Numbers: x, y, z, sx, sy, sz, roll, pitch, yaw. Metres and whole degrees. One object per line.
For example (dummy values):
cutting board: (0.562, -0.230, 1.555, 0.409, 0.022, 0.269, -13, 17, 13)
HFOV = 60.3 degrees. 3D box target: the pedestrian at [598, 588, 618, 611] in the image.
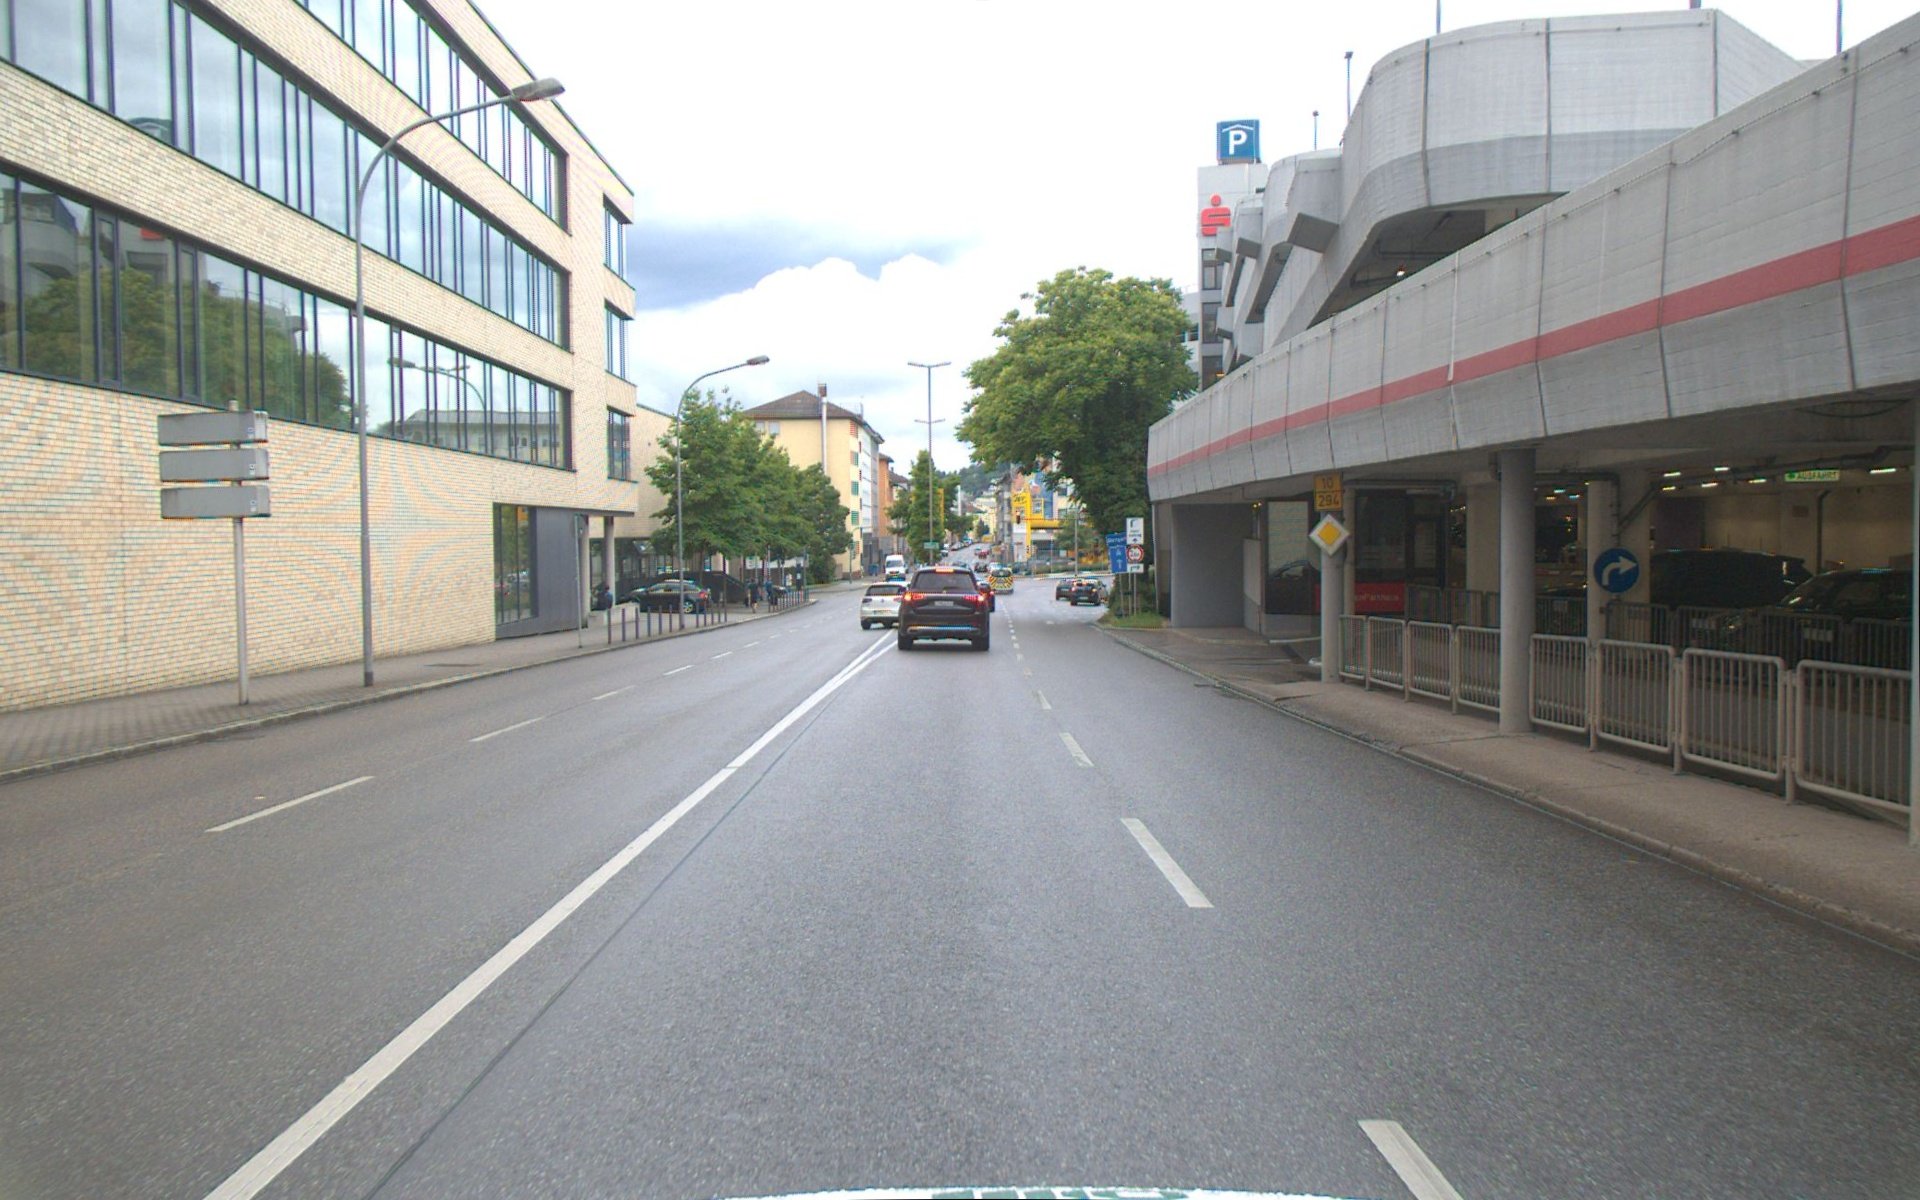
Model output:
pedestrian: (-13.169, -0.019, 61.915, 0.574, 0.859, 0.727, 0, 0, 1)

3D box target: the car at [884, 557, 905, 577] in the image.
car: (-6.708, -3.407, 170.081, 1.953, 1.908, 5.141, 1, 0, -1)

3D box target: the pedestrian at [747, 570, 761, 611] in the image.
pedestrian: (-10.491, -0.486, 84.383, 0.576, 2.049, 0.749, 1, 0, -1)

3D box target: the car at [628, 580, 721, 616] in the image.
car: (-14.159, -0.106, 82.158, 4.329, 1.601, 1.999, 1, 2, -5)

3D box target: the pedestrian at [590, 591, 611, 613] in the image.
pedestrian: (-13.255, 0.067, 60.976, 0.585, 0.800, 0.760, 1, 0, 1)

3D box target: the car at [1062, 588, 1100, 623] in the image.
car: (7.434, 0.323, 101.855, 1.953, 2.049, 3.999, 1, 1, -1)

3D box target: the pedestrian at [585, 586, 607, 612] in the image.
pedestrian: (-13.340, -0.035, 60.558, 0.667, 0.901, 0.524, 1, 0, 1)

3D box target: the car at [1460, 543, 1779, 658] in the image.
car: (10.452, 0.002, 26.527, 4.478, 1.668, 1.823, 1, 0, 12)

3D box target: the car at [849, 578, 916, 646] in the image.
car: (-2.452, 0.384, 53.437, 1.953, 2.049, 3.999, 1, 0, -1)

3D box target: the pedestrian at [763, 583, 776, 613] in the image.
pedestrian: (-11.367, -0.111, 98.772, 0.674, 1.756, 0.754, 1, -2, 0)

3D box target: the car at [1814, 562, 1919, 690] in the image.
car: (13.193, 0.271, 21.121, 3.643, 1.531, 1.809, -2, 1, 8)

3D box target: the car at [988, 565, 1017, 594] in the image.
car: (3.147, -1.514, 122.942, 1.953, 2.049, 3.999, 1, 0, -1)

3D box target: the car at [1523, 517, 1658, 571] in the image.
car: (21.176, -1.864, 55.718, 3.902, 1.668, 2.002, 1, 0, 10)

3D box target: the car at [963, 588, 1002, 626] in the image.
car: (1.056, 0.334, 79.091, 1.669, 1.746, 3.442, 1, 0, -2)

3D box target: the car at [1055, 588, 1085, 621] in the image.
car: (7.552, 0.308, 113.698, 1.952, 2.165, 4.001, 1, 0, 3)

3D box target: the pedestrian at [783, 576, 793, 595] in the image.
pedestrian: (-13.818, -1.173, 132.654, 0.696, 1.487, 0.598, 1, 0, -1)

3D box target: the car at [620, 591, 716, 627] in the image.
car: (-14.078, 0.416, 79.871, 4.381, 1.614, 1.998, -1, 1, -6)

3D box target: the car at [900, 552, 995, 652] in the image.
car: (-0.269, 0.051, 36.900, 1.953, 2.049, 3.999, 1, 0, -1)
